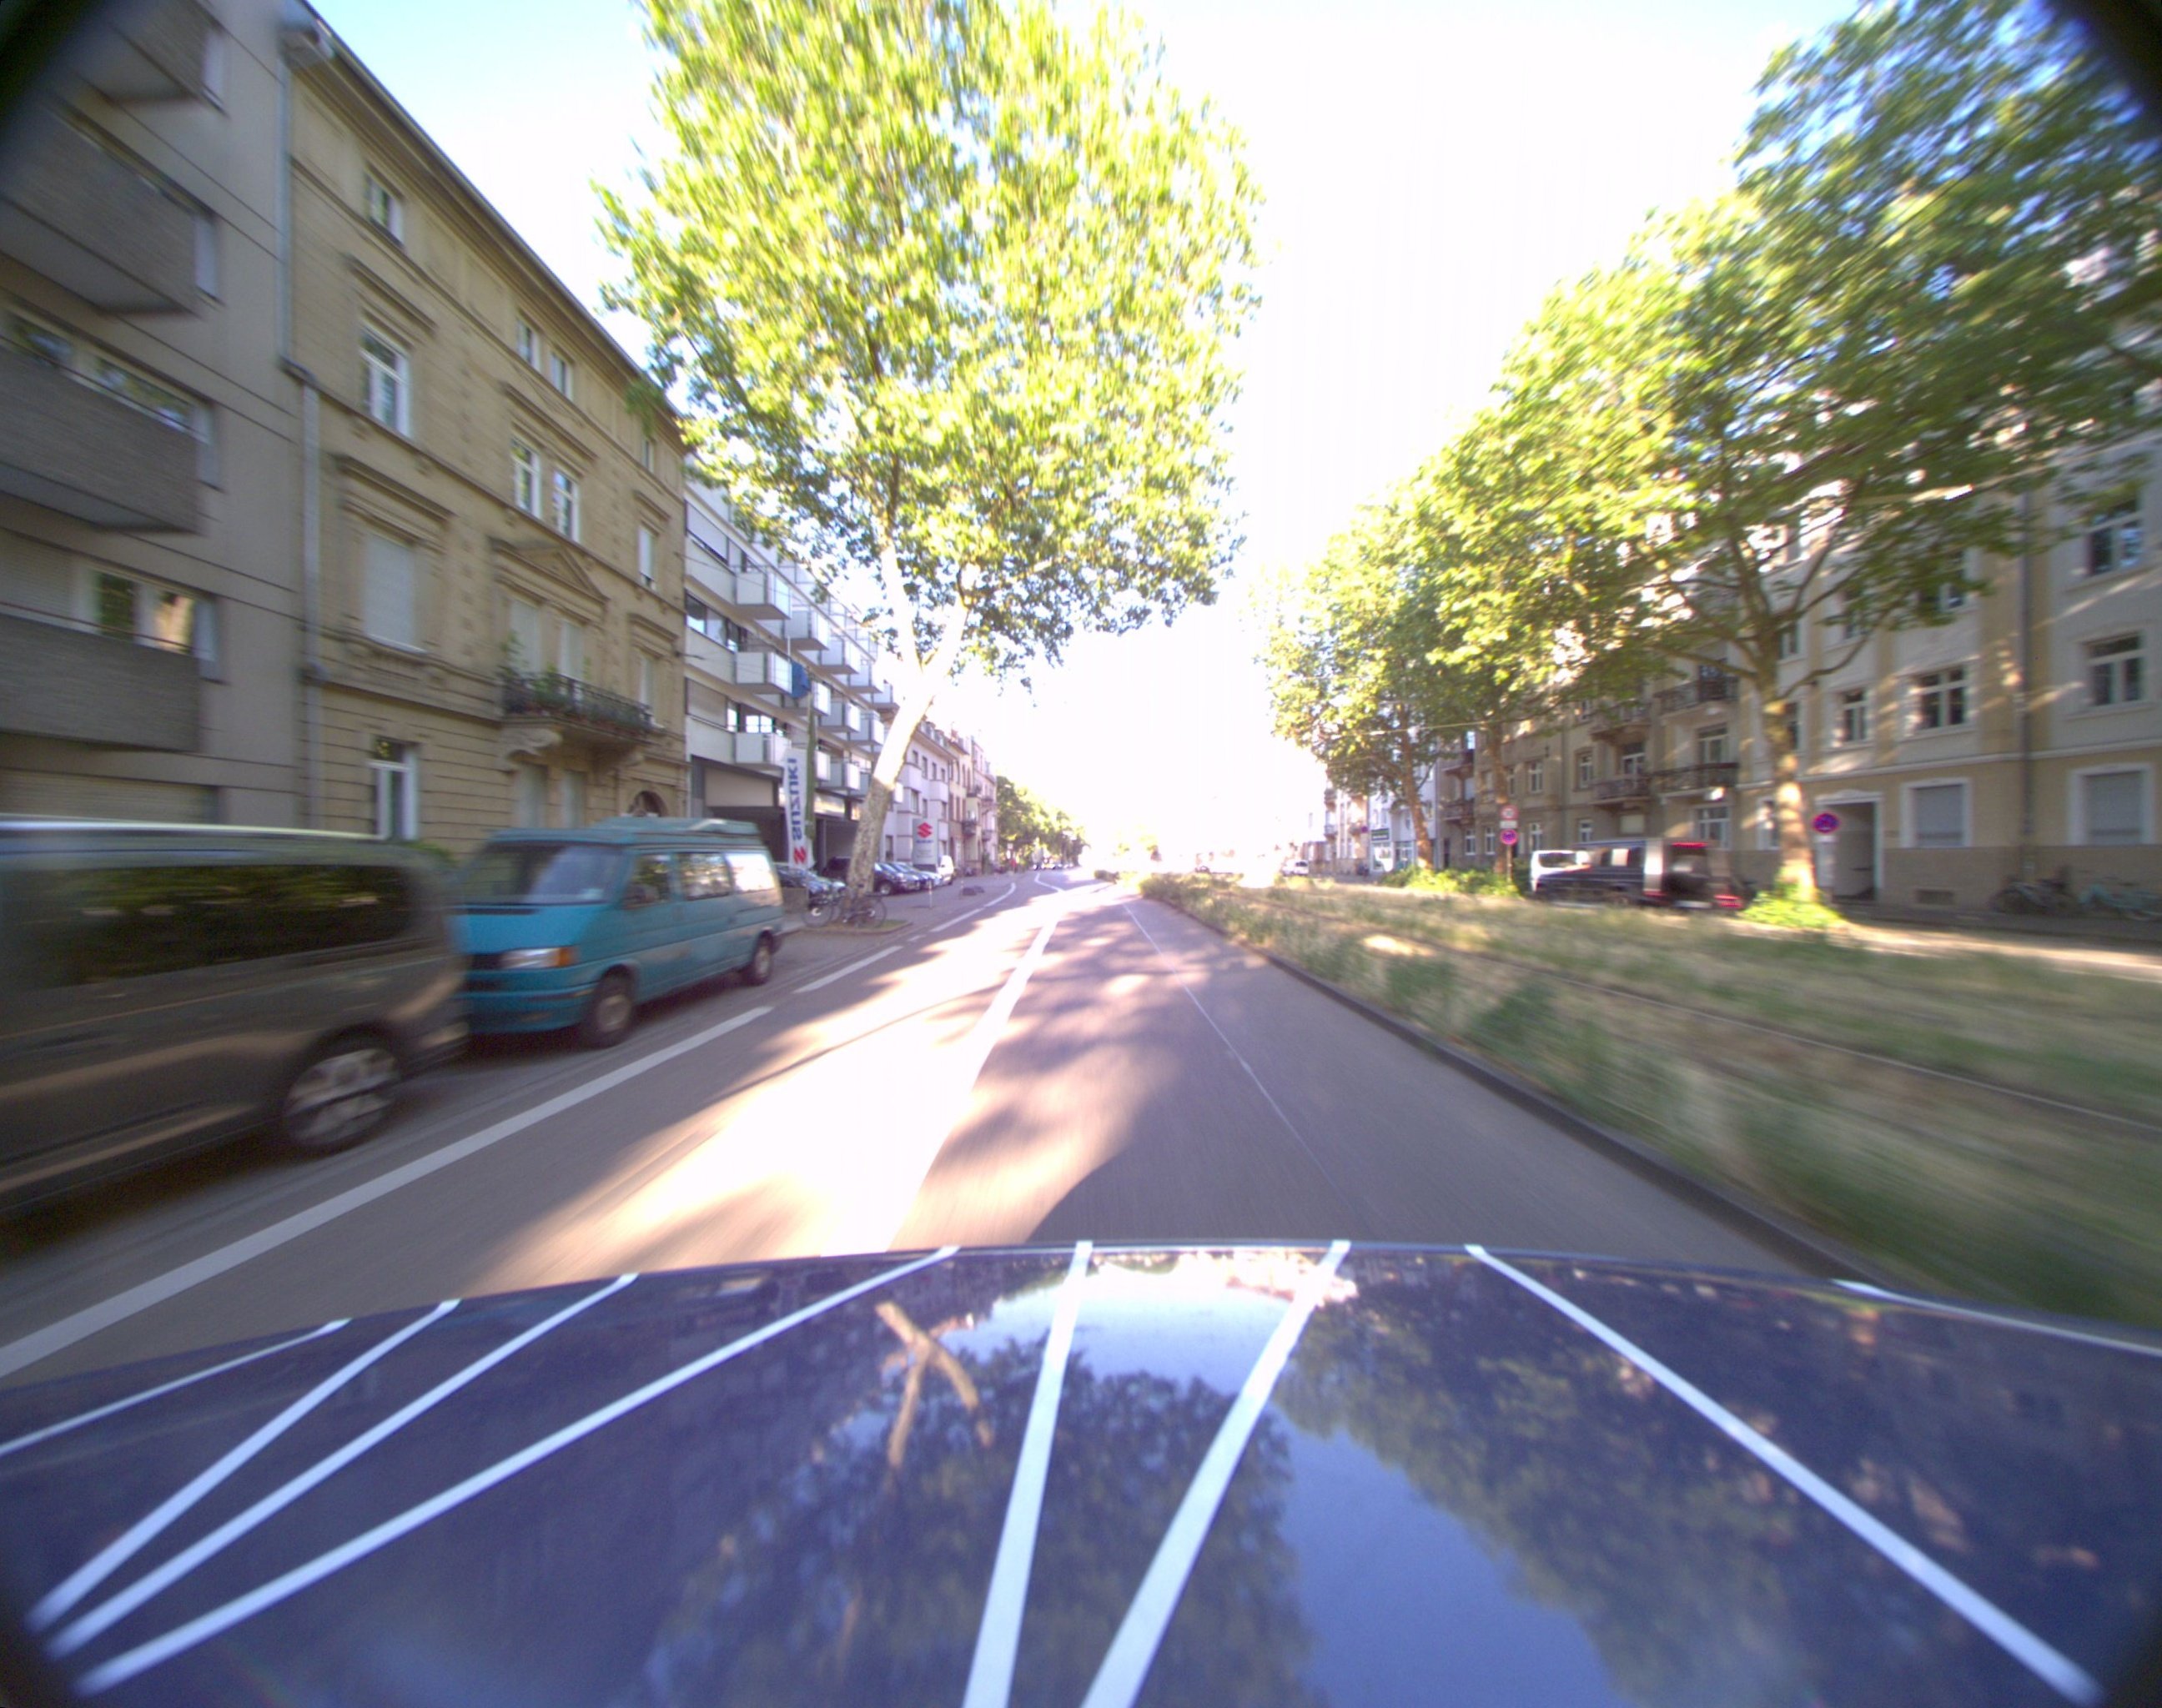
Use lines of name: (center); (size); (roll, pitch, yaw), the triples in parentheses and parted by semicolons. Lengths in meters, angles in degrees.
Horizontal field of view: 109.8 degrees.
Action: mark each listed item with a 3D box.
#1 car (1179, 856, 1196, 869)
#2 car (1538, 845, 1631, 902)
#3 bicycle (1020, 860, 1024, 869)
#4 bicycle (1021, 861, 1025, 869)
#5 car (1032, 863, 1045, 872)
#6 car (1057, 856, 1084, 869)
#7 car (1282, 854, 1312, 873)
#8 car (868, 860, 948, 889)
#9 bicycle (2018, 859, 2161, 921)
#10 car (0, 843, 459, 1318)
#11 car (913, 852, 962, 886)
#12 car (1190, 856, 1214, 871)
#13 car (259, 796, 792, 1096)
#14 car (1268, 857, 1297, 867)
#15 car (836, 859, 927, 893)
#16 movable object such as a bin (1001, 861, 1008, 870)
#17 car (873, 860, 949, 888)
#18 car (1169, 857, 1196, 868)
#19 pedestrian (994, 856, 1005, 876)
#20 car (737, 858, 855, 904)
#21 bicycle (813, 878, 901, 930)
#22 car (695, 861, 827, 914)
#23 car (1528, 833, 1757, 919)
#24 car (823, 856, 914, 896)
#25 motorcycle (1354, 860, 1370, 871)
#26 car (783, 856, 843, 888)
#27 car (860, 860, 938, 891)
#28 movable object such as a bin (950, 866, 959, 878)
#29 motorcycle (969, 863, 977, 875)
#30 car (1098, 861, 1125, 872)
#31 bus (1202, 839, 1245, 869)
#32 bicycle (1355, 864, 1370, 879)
car: (14.179, 1.133, 101.580); (1.934, 1.674, 4.000); (0, 1, 4)
car: (19.791, 0.708, 29.766); (5.257, 2.054, 1.717); (-1, 0, -42)
bicycle: (-7.616, 1.379, 98.113); (0.438, 1.092, 1.931); (-1, 0, -4)
bicycle: (-7.777, 1.405, 101.185); (0.370, 1.062, 1.874); (0, 0, 0)
car: (-7.977, 2.467, 143.421); (1.877, 1.586, 4.001); (-1, 0, 4)
car: (-1.689, 1.314, 117.280); (3.999, 2.002, 1.998); (-1, 1, -6)
car: (22.053, 0.962, 77.667); (1.909, 1.776, 4.653); (0, 1, 2)
car: (-9.183, 1.089, 40.599); (3.879, 1.505, 1.809); (0, 0, -1)
bicycle: (25.082, 0.834, 18.570); (0.743, 1.383, 2.961); (0, 0, 1)
car: (-5.148, 0.879, 2.675); (1.999, 1.819, 4.756); (0, 1, -1)
car: (-8.959, 0.878, 47.803); (1.897, 1.937, 4.901); (0, 1, 3)
car: (12.743, 0.930, 80.020); (1.720, 1.477, 4.699); (2, 0, 0)
car: (-5.155, 0.658, 8.328); (1.999, 2.244, 5.234); (0, 1, -1)
car: (31.039, 1.252, 116.991); (4.051, 1.517, 1.782); (0, 1, 7)
car: (-9.421, 1.043, 36.061); (3.829, 1.531, 1.859); (0, 0, -1)
movable object such as a bin: (-9.302, 1.403, 92.267); (0.657, 1.040, 0.659); (0, 1, 13)
car: (-9.569, 1.119, 43.003); (3.820, 1.492, 1.914); (-1, -1, 1)
car: (15.702, 1.317, 117.488); (4.124, 1.565, 1.717); (0, 1, 6)
pedestrian: (-7.633, 1.135, 71.245); (0.831, 1.802, 1.150); (0, 1, -1)
car: (-9.951, 0.924, 26.674); (3.426, 1.510, 1.757); (0, 1, 2)
bicycle: (-5.044, 1.119, 17.131); (1.849, 1.136, 0.348); (0, 1, 0)
car: (-9.810, 1.008, 23.455); (3.427, 1.537, 1.442); (0, 1, -2)
car: (12.421, 0.403, 17.304); (1.873, 1.684, 4.777); (0, 1, 3)
car: (-9.483, 0.977, 34.026); (3.589, 1.709, 1.682); (0, -1, 2)
motorcycle: (25.716, 1.045, 69.531); (0.529, 1.015, 2.420); (-3, 0, 0)
car: (-13.510, 0.876, 38.222); (3.339, 1.554, 1.508); (0, 0, 44)
car: (-9.113, 1.064, 38.201); (3.426, 1.516, 1.741); (0, 0, 2)
movable object such as a bin: (-10.095, 1.463, 60.761); (0.555, 0.964, 0.585); (0, 1, 2)
motorcycle: (-10.678, 1.501, 75.027); (0.591, 1.130, 2.504); (0, 1, -3)
car: (4.873, 2.016, 121.538); (4.002, 1.696, 1.833); (-1, 1, -14)
bus: (17.117, -0.117, 92.338); (3.262, 3.355, 11.976); (0, 1, 1)
bicycle: (22.139, 1.344, 59.800); (0.758, 1.027, 1.897); (-6, 0, 14)
